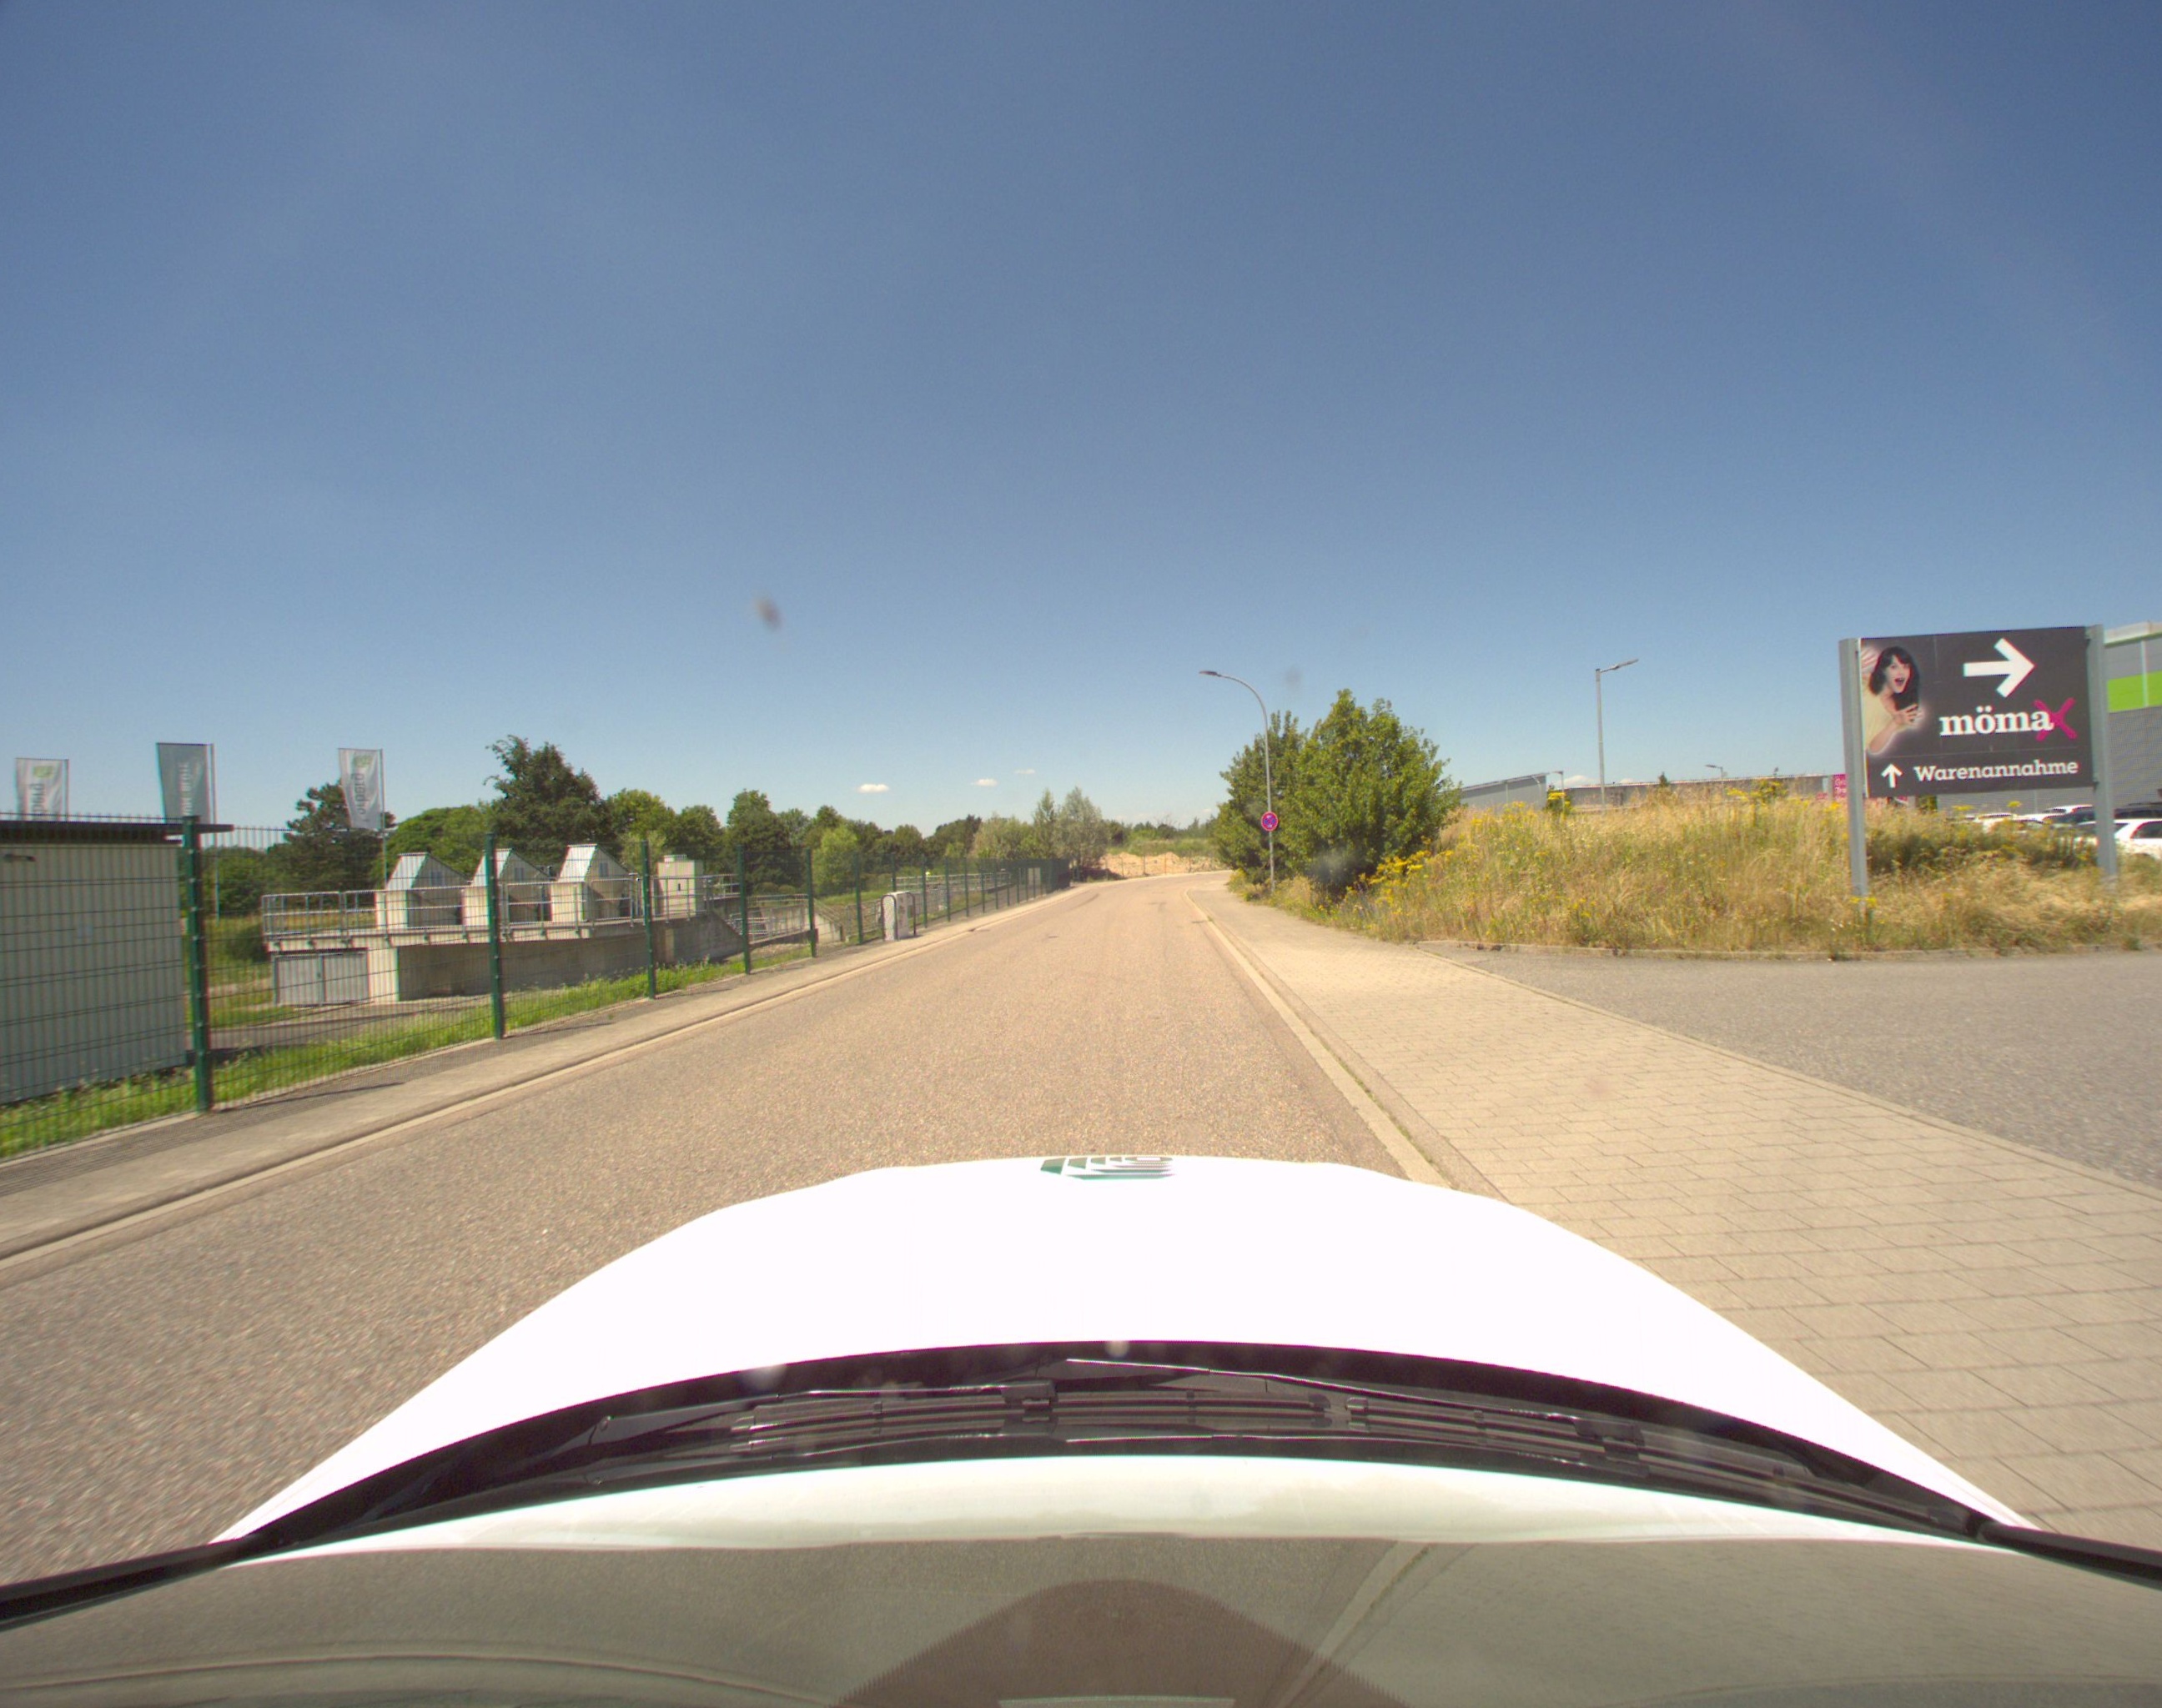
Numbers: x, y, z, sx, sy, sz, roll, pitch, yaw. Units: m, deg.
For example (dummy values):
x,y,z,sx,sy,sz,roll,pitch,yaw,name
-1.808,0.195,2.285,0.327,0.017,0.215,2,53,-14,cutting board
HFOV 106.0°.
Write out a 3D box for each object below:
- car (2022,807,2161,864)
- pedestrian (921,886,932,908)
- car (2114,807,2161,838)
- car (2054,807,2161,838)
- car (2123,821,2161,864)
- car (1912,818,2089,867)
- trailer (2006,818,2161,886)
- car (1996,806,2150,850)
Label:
x,y,z,sx,sy,sz,roll,pitch,yaw,name
31.533,-0.562,24.676,3.721,1.570,1.891,-2,-2,2,car
-12.872,3.591,67.983,0.603,1.839,0.805,-4,-3,4,pedestrian
61.393,-1.856,45.865,3.979,1.519,1.997,-3,-3,-4,car
61.432,-1.872,48.776,3.979,1.519,1.997,-3,-3,-4,car
41.451,-0.550,29.898,3.979,1.519,1.997,-3,-3,-4,car
31.274,-0.374,27.803,3.721,1.444,1.943,-2,-2,2,car
23.780,-0.071,18.286,3.974,1.398,1.764,-2,-2,0,trailer
42.010,-1.079,34.578,3.974,1.519,1.999,-3,-3,0,car
